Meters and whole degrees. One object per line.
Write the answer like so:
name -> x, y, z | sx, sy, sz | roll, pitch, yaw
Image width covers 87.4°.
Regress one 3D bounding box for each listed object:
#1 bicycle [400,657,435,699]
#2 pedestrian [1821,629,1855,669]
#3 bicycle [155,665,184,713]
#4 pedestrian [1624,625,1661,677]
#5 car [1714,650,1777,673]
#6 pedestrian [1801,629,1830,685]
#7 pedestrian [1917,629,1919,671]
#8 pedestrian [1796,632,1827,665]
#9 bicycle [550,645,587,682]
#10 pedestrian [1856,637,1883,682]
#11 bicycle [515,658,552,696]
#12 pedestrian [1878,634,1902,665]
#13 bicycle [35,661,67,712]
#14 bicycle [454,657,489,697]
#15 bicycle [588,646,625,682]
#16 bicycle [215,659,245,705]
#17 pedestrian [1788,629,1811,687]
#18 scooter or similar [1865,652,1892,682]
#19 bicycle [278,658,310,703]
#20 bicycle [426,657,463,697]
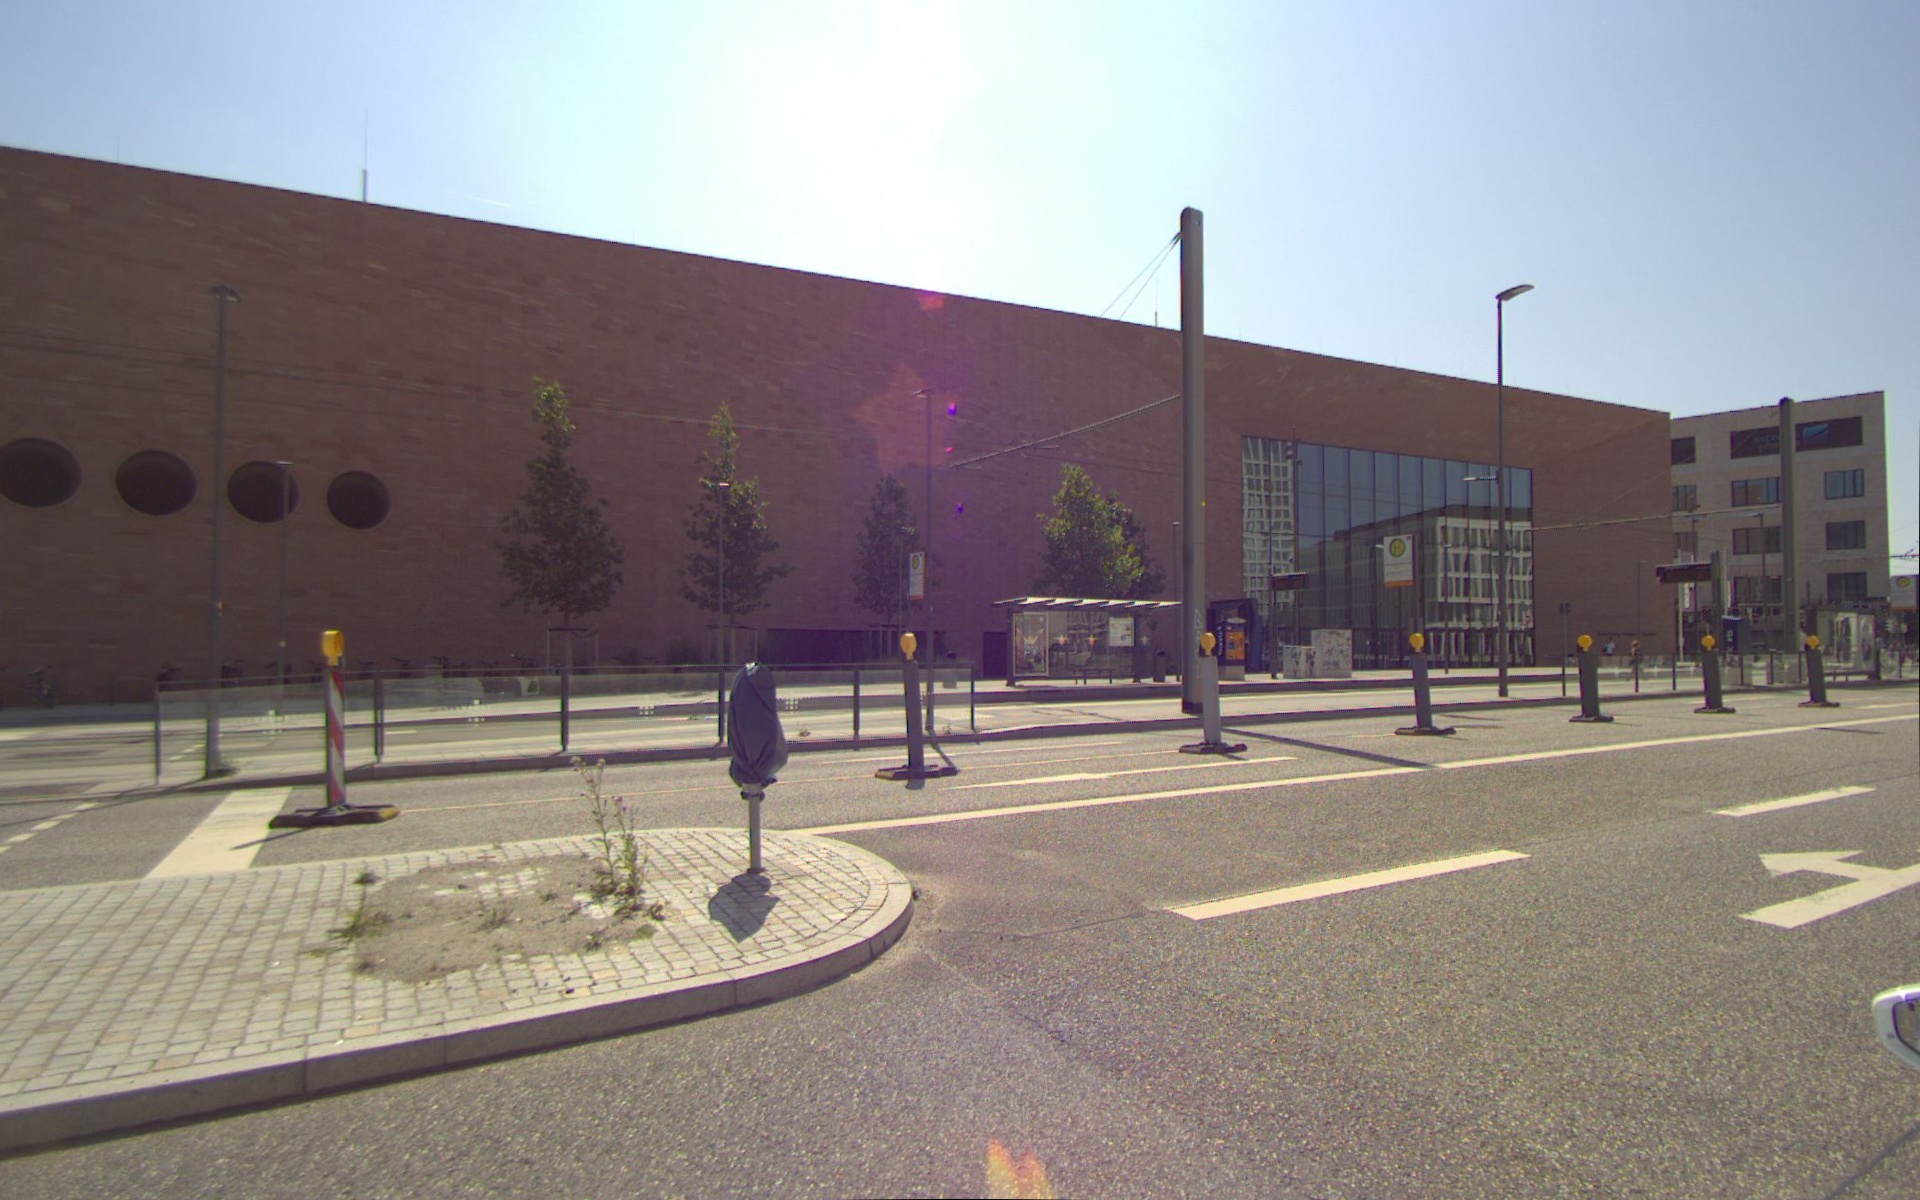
bicycle -> -16.659, 2.387, 30.845 | 0.535, 1.228, 2.034 | 1, -3, -40
pedestrian -> 42.422, 2.356, 48.528 | 0.817, 1.915, 0.974 | 2, -3, -29
bicycle -> -21.482, 2.390, 27.286 | 0.535, 1.228, 2.034 | 2, -3, -40
pedestrian -> 24.439, 1.818, 35.964 | 0.815, 1.844, 0.807 | 1, -2, -30
car -> 66.332, 5.174, 84.837 | 1.785, 1.839, 3.906 | 3, -4, -42
pedestrian -> 28.300, 1.879, 33.222 | 0.654, 1.844, 0.721 | -1, -2, 37
pedestrian -> 44.874, 2.251, 46.028 | 1.046, 1.915, 1.164 | -1, -2, -29
pedestrian -> 50.307, 2.883, 59.341 | 0.966, 1.915, 0.889 | 0, -3, -10
bicycle -> -13.419, 2.163, 34.433 | 0.535, 1.228, 2.033 | 1, -2, -40
pedestrian -> 33.444, 2.179, 36.925 | 0.643, 1.643, 0.502 | 1, -3, -31
bicycle -> -14.268, 2.557, 33.578 | 0.535, 1.228, 2.034 | 1, -3, -40
pedestrian -> 51.697, 2.742, 55.843 | 0.681, 1.703, 0.672 | -1, -3, 11
bicycle -> -23.309, 2.185, 25.771 | 0.535, 1.228, 2.034 | 1, -3, -40
bicycle -> -15.717, 2.464, 32.290 | 0.535, 1.228, 2.034 | 1, -3, -40
bicycle -> -12.363, 2.231, 35.079 | 0.535, 1.228, 2.034 | 1, -3, -40
bicycle -> -20.484, 2.281, 28.174 | 0.535, 1.228, 2.034 | 1, -3, -40
pedestrian -> 27.226, 1.862, 32.585 | 0.543, 1.844, 0.598 | -1, -2, 39
scooter or similar -> 34.113, 2.478, 37.304 | 0.824, 1.073, 0.502 | 1, -3, -31
bicycle -> -19.427, 2.323, 29.279 | 0.535, 1.228, 2.034 | 1, -3, -40
bicycle -> -16.315, 2.413, 31.768 | 0.740, 1.228, 1.870 | 1, -3, -37
